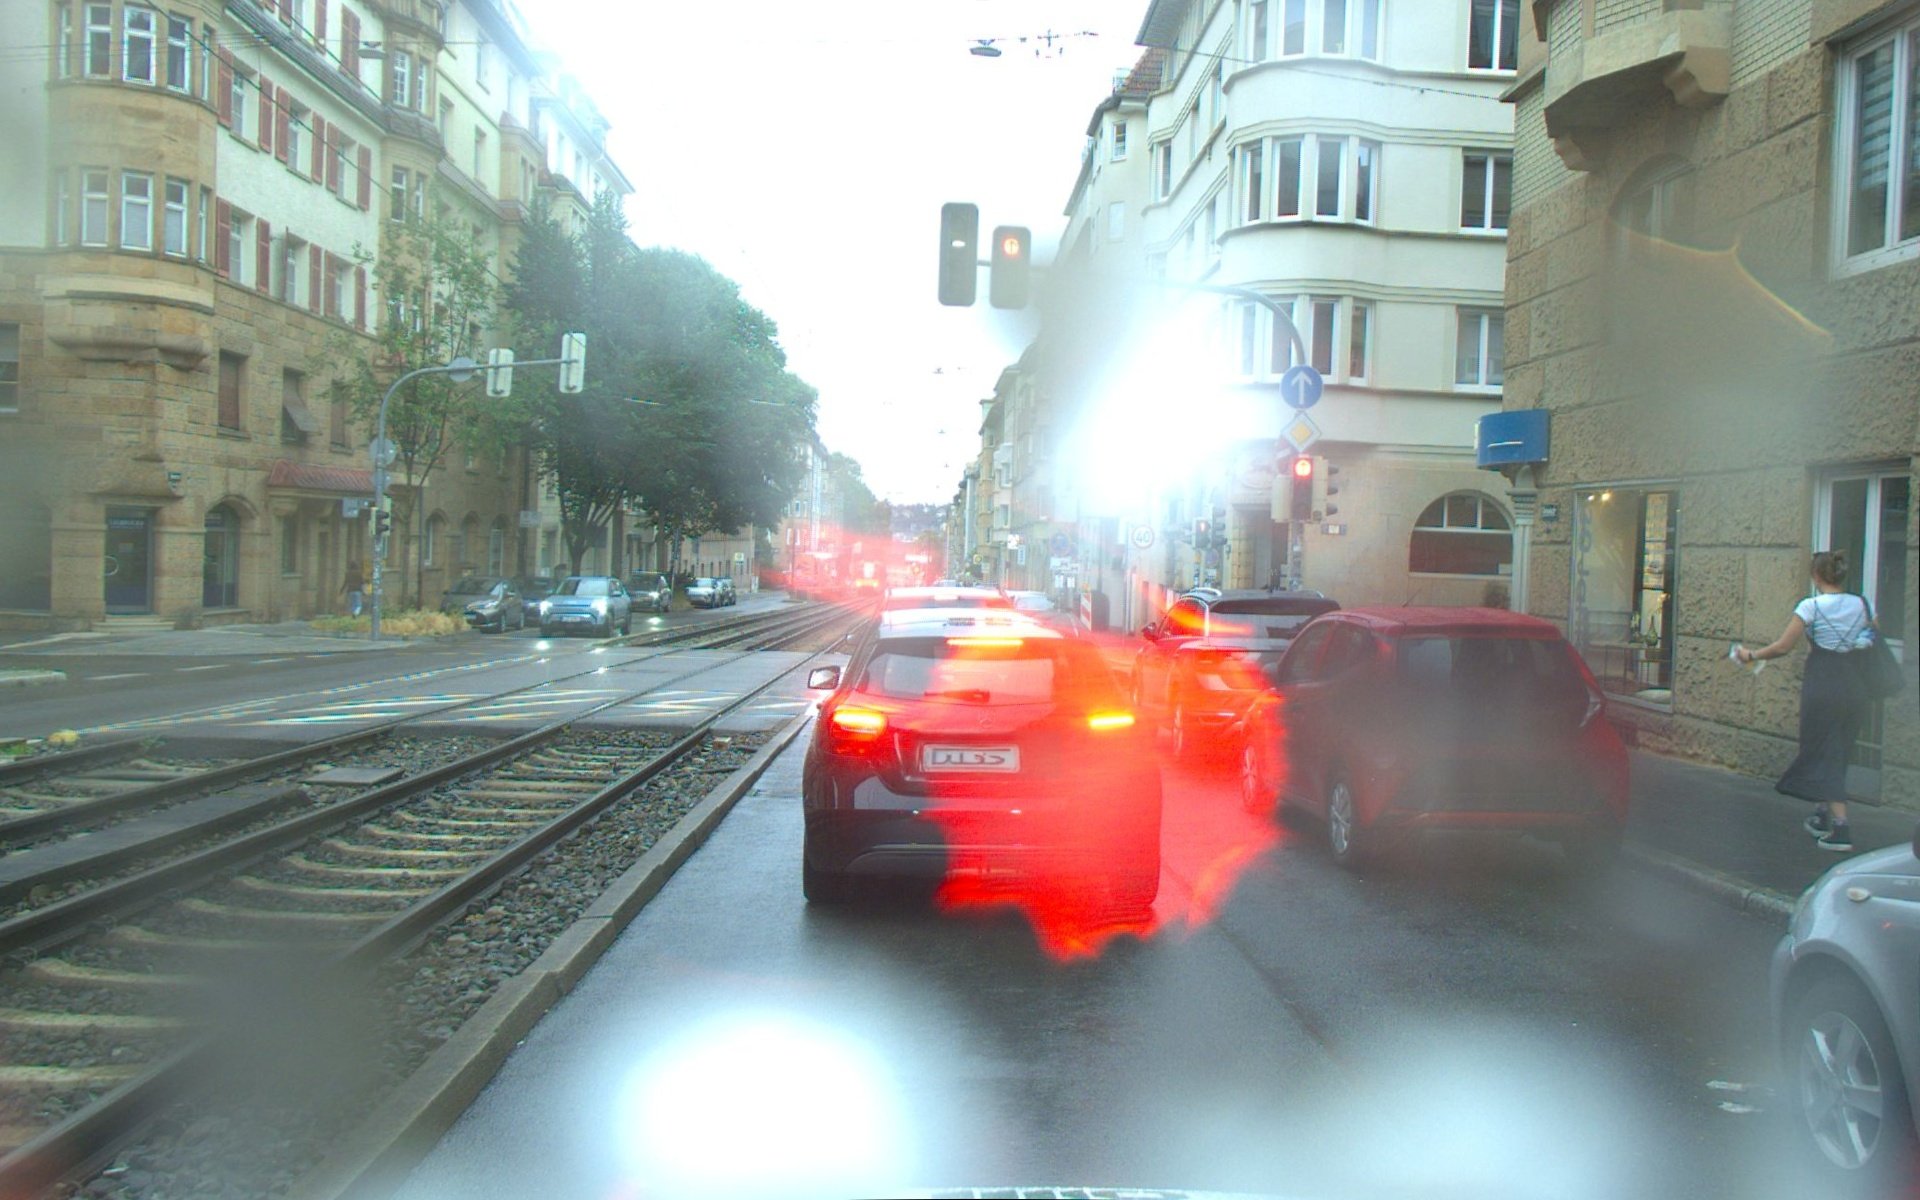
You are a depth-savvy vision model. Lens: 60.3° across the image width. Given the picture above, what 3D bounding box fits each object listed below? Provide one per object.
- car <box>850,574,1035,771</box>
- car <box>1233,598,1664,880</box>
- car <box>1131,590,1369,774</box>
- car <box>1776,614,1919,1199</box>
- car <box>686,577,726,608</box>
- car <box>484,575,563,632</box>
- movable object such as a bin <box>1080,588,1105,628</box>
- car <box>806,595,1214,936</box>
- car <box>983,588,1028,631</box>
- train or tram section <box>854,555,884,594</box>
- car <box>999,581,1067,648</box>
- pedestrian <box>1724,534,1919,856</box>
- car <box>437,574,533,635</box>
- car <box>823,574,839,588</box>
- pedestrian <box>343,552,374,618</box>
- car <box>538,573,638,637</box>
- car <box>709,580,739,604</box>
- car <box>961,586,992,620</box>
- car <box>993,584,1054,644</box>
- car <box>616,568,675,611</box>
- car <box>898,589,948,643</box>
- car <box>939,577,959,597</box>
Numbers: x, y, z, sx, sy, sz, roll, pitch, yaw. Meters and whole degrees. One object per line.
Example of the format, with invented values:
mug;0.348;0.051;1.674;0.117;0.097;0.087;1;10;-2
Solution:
car;-0.173;0.618;15.822;1.533;1.637;3.813;1;0;-1
car;2.909;0.751;10.548;1.609;1.473;3.297;1;0;-3
car;2.634;0.679;15.784;1.513;1.512;3.829;1;0;-1
car;3.126;0.791;3.089;1.581;1.493;3.312;0;0;0
car;-13.652;-0.392;88.954;1.557;1.608;3.917;1;0;-1
car;-13.272;0.104;50.510;1.683;1.639;3.914;1;0;-5
movable object such as a bin;4.768;0.301;59.631;0.859;1.413;0.983;1;-1;3
car;0.194;0.734;9.439;1.792;1.483;4.103;1;0;-1
car;1.668;0.323;61.536;1.513;1.512;3.547;1;0;-1
train or tram section;-9.837;-2.709;179.880;2.726;3.928;10.427;1;0;-1
car;1.842;0.349;42.654;1.513;1.618;3.547;1;0;-1
pedestrian;5.138;0.531;9.752;0.726;1.778;1.111;1;-1;-1
car;-13.008;0.123;45.484;1.718;1.579;4.032;1;0;-4
car;-12.144;-1.782;155.362;1.349;1.271;3.296;1;0;-2
pedestrian;-15.693;-0.389;43.167;0.619;1.702;0.701;1;-1;-9
car;-10.044;0.140;44.914;1.860;1.615;3.972;1;0;-1
car;-14.019;-0.449;98.359;1.419;1.354;3.270;1;0;-3
car;0.728;0.127;73.594;1.268;1.467;2.928;1;0;-1
car;1.773;0.375;47.127;1.513;1.618;3.547;1;0;-1
car;-13.557;-0.419;71.493;1.837;1.767;3.917;1;0;-1
car;-1.172;0.492;53.807;1.513;1.664;3.686;1;0;0
car;-1.100;-1.304;166.390;1.953;1.909;3.999;1;0;-1
